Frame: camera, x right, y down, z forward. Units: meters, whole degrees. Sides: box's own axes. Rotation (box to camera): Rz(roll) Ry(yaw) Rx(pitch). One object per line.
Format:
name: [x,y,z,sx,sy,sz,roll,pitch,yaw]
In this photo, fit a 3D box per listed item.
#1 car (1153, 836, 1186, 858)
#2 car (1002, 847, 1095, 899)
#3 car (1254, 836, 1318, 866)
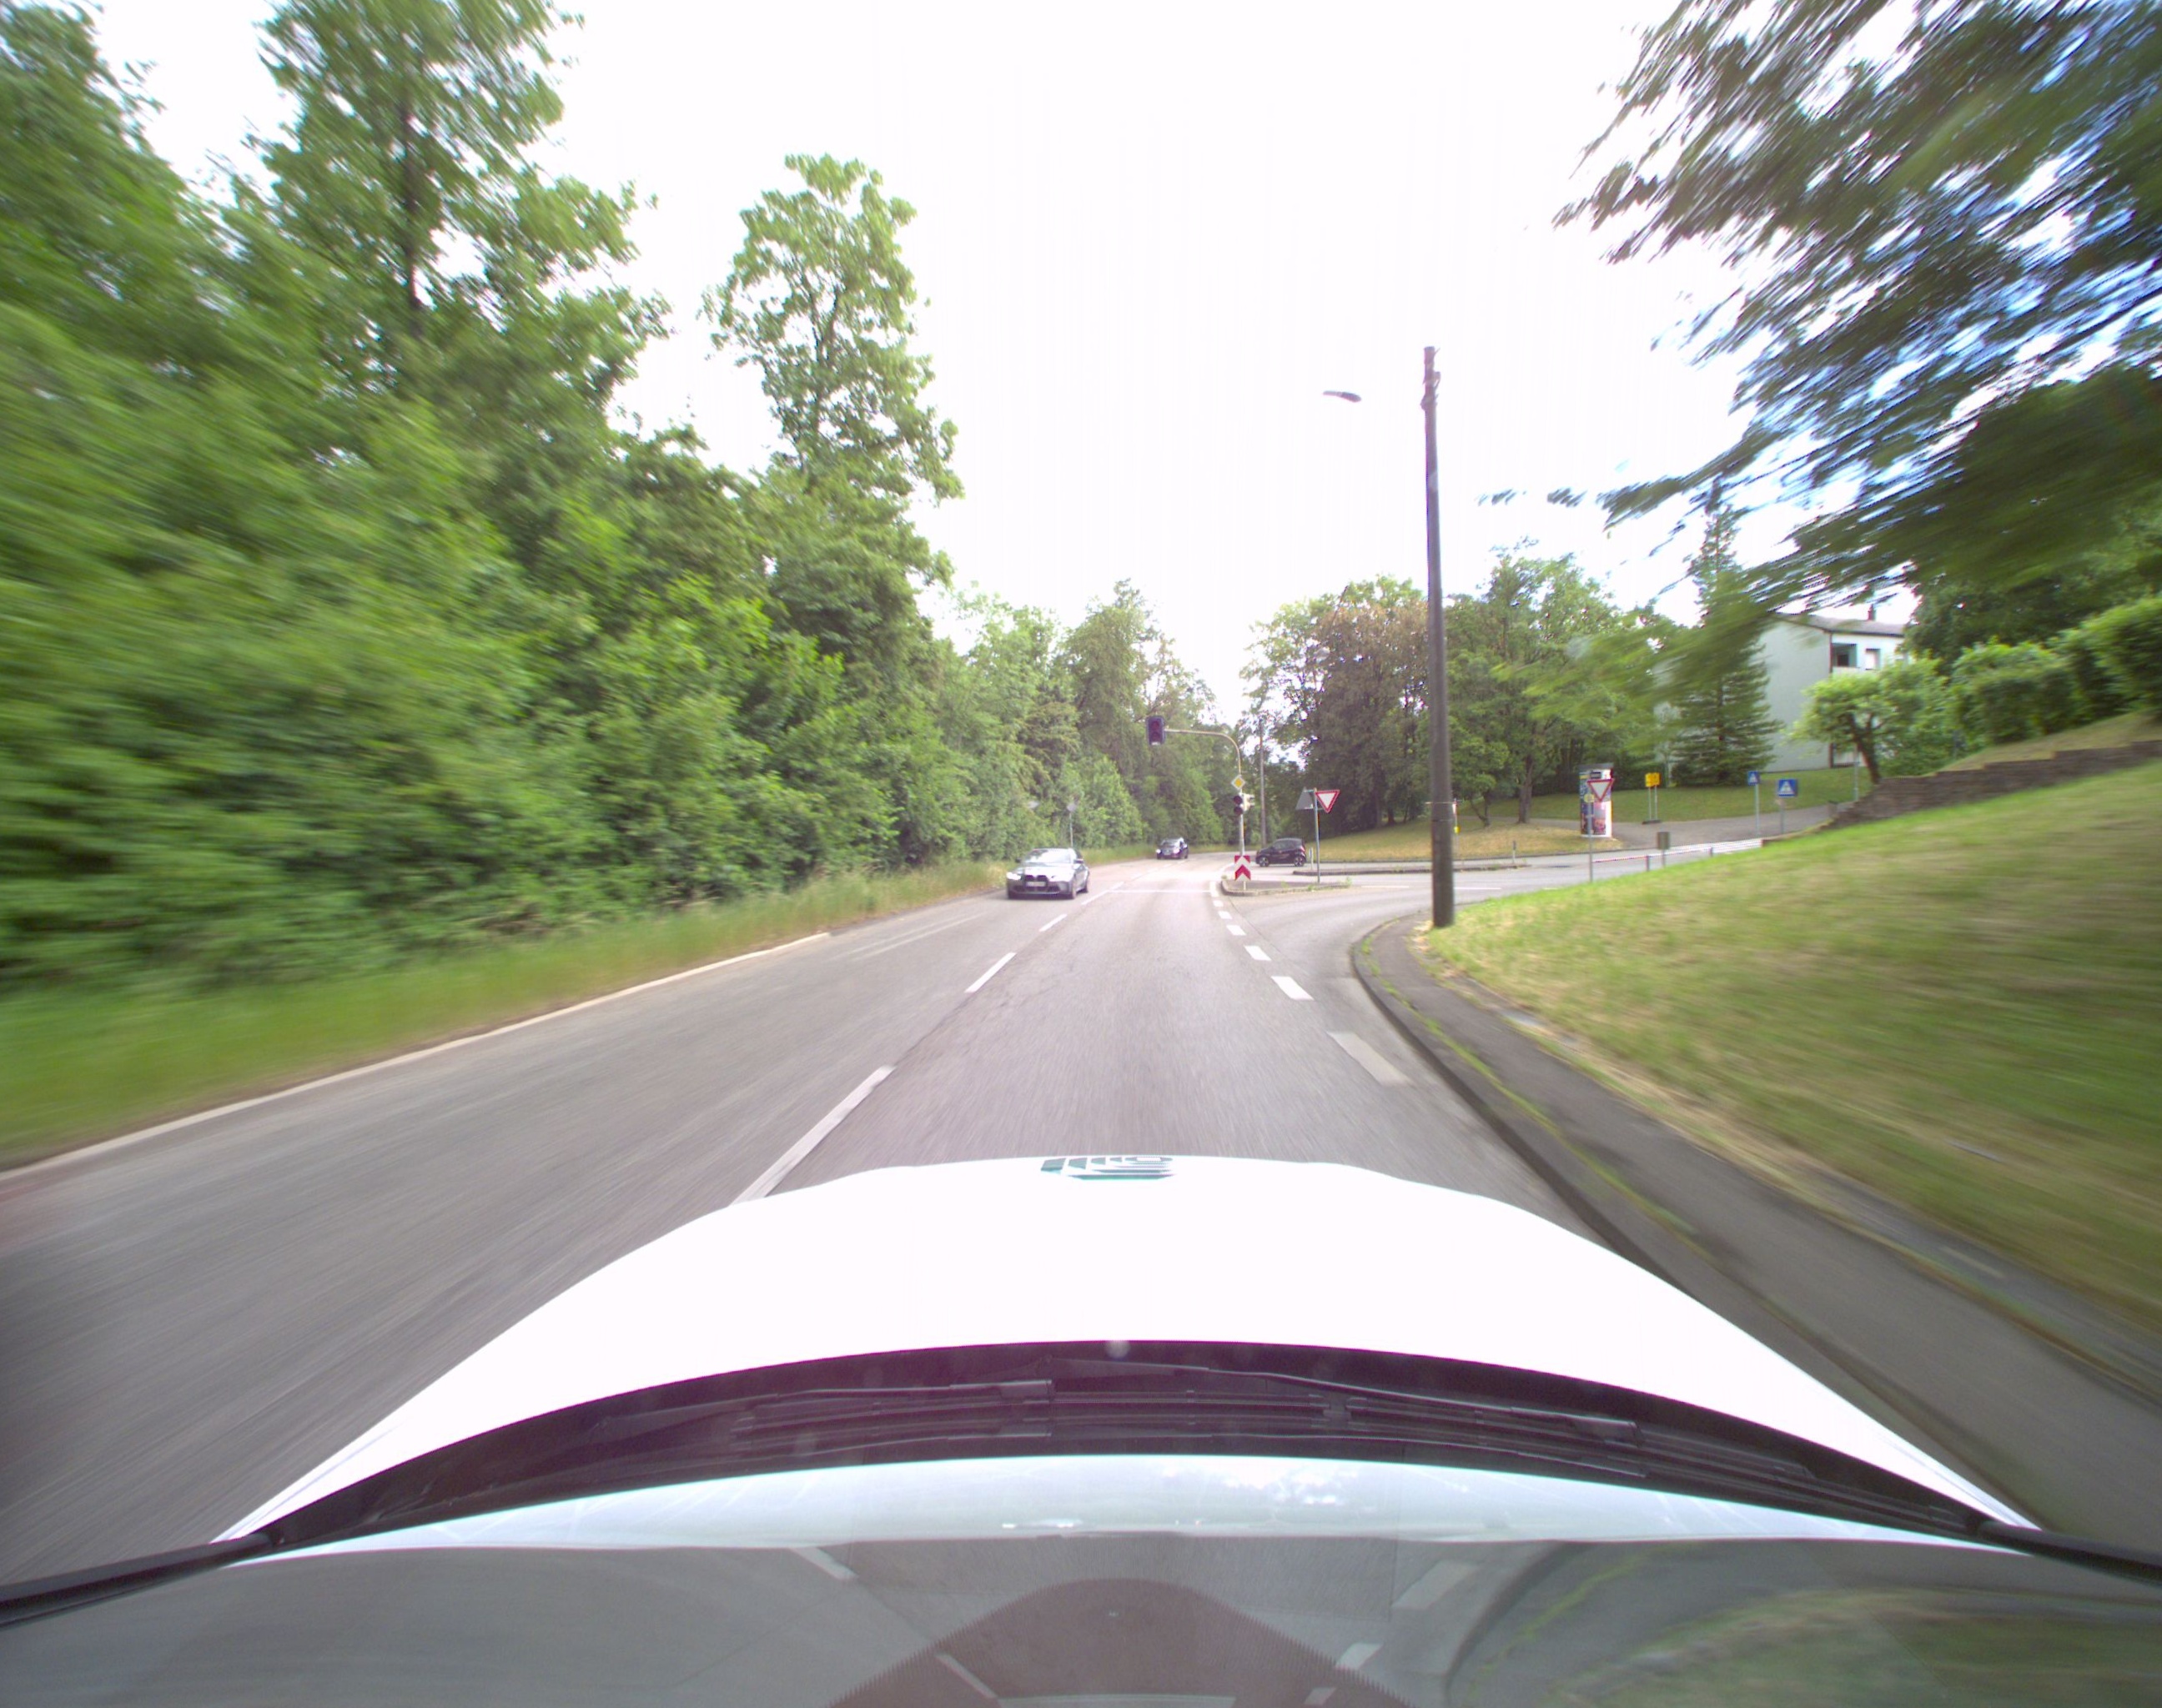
car: [6.536,-0.500,59.824,1.776,1.514,4.860,-2,0,13]
car: [-0.848,0.498,24.426,1.887,1.354,4.853,1,0,8]
car: [11.183,-0.160,44.437,3.278,1.494,1.675,-1,1,16]
